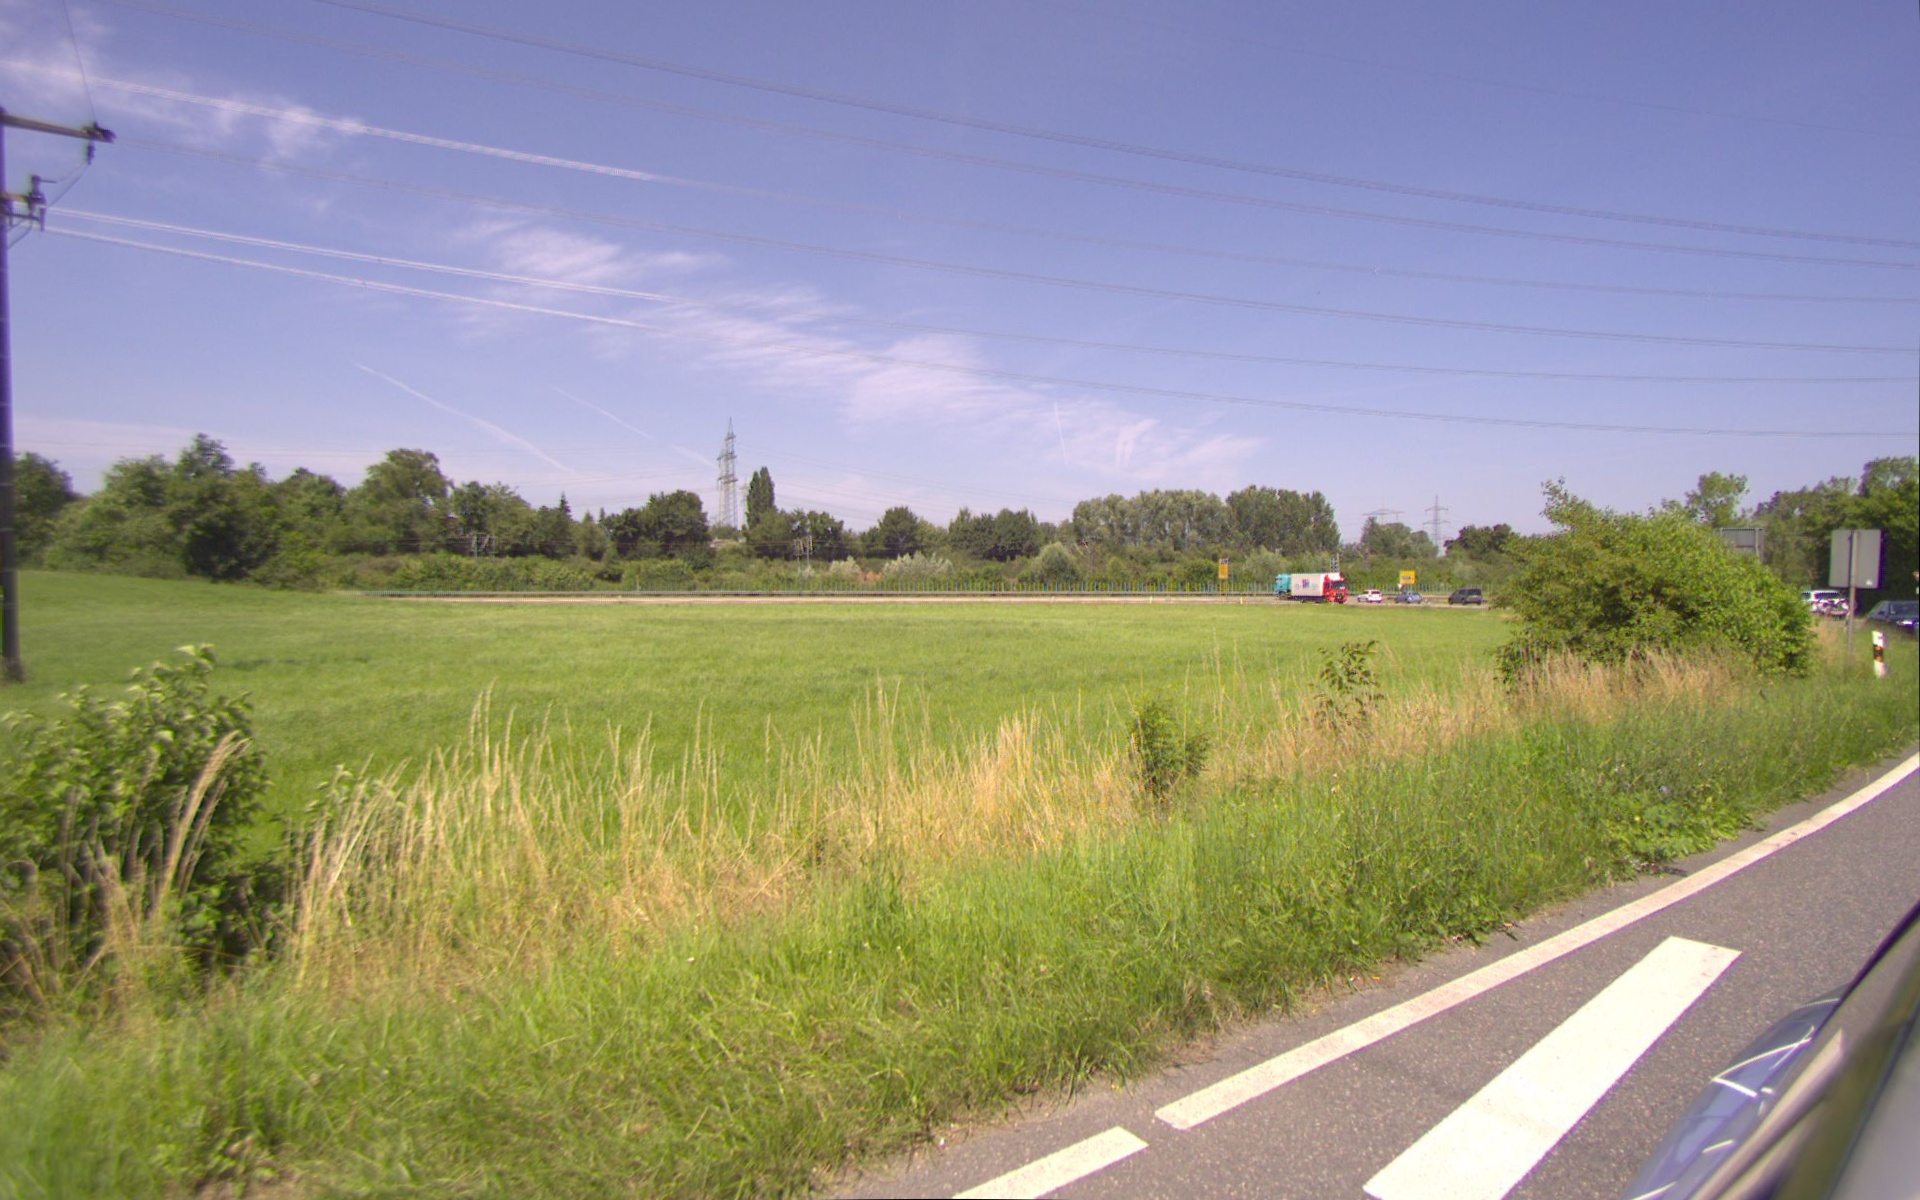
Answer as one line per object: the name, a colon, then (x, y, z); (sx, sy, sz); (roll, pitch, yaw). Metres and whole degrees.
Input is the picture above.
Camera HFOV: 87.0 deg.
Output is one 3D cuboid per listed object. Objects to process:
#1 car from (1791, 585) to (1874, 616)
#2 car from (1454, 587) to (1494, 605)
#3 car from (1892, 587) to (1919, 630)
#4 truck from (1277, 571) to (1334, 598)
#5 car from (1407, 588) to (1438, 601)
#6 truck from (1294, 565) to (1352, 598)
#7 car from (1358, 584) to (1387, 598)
car: (48.586, 0.021, 56.503); (1.837, 1.622, 4.746); (-2, 0, 20)
car: (54.828, -0.450, 108.019); (1.896, 1.855, 4.440); (-1, 1, 0)
car: (34.970, 0.286, 36.211); (1.814, 1.458, 4.096); (1, 1, 35)
truck: (46.646, -2.135, 136.851); (2.557, 3.515, 7.621); (0, 1, -27)
car: (54.324, -0.670, 119.015); (1.605, 1.478, 4.010); (0, 1, -3)
truck: (43.569, -2.269, 121.949); (2.671, 3.623, 9.568); (-2, 2, -6)
car: (52.424, -1.153, 128.731); (1.743, 1.641, 4.333); (-2, 1, -3)
